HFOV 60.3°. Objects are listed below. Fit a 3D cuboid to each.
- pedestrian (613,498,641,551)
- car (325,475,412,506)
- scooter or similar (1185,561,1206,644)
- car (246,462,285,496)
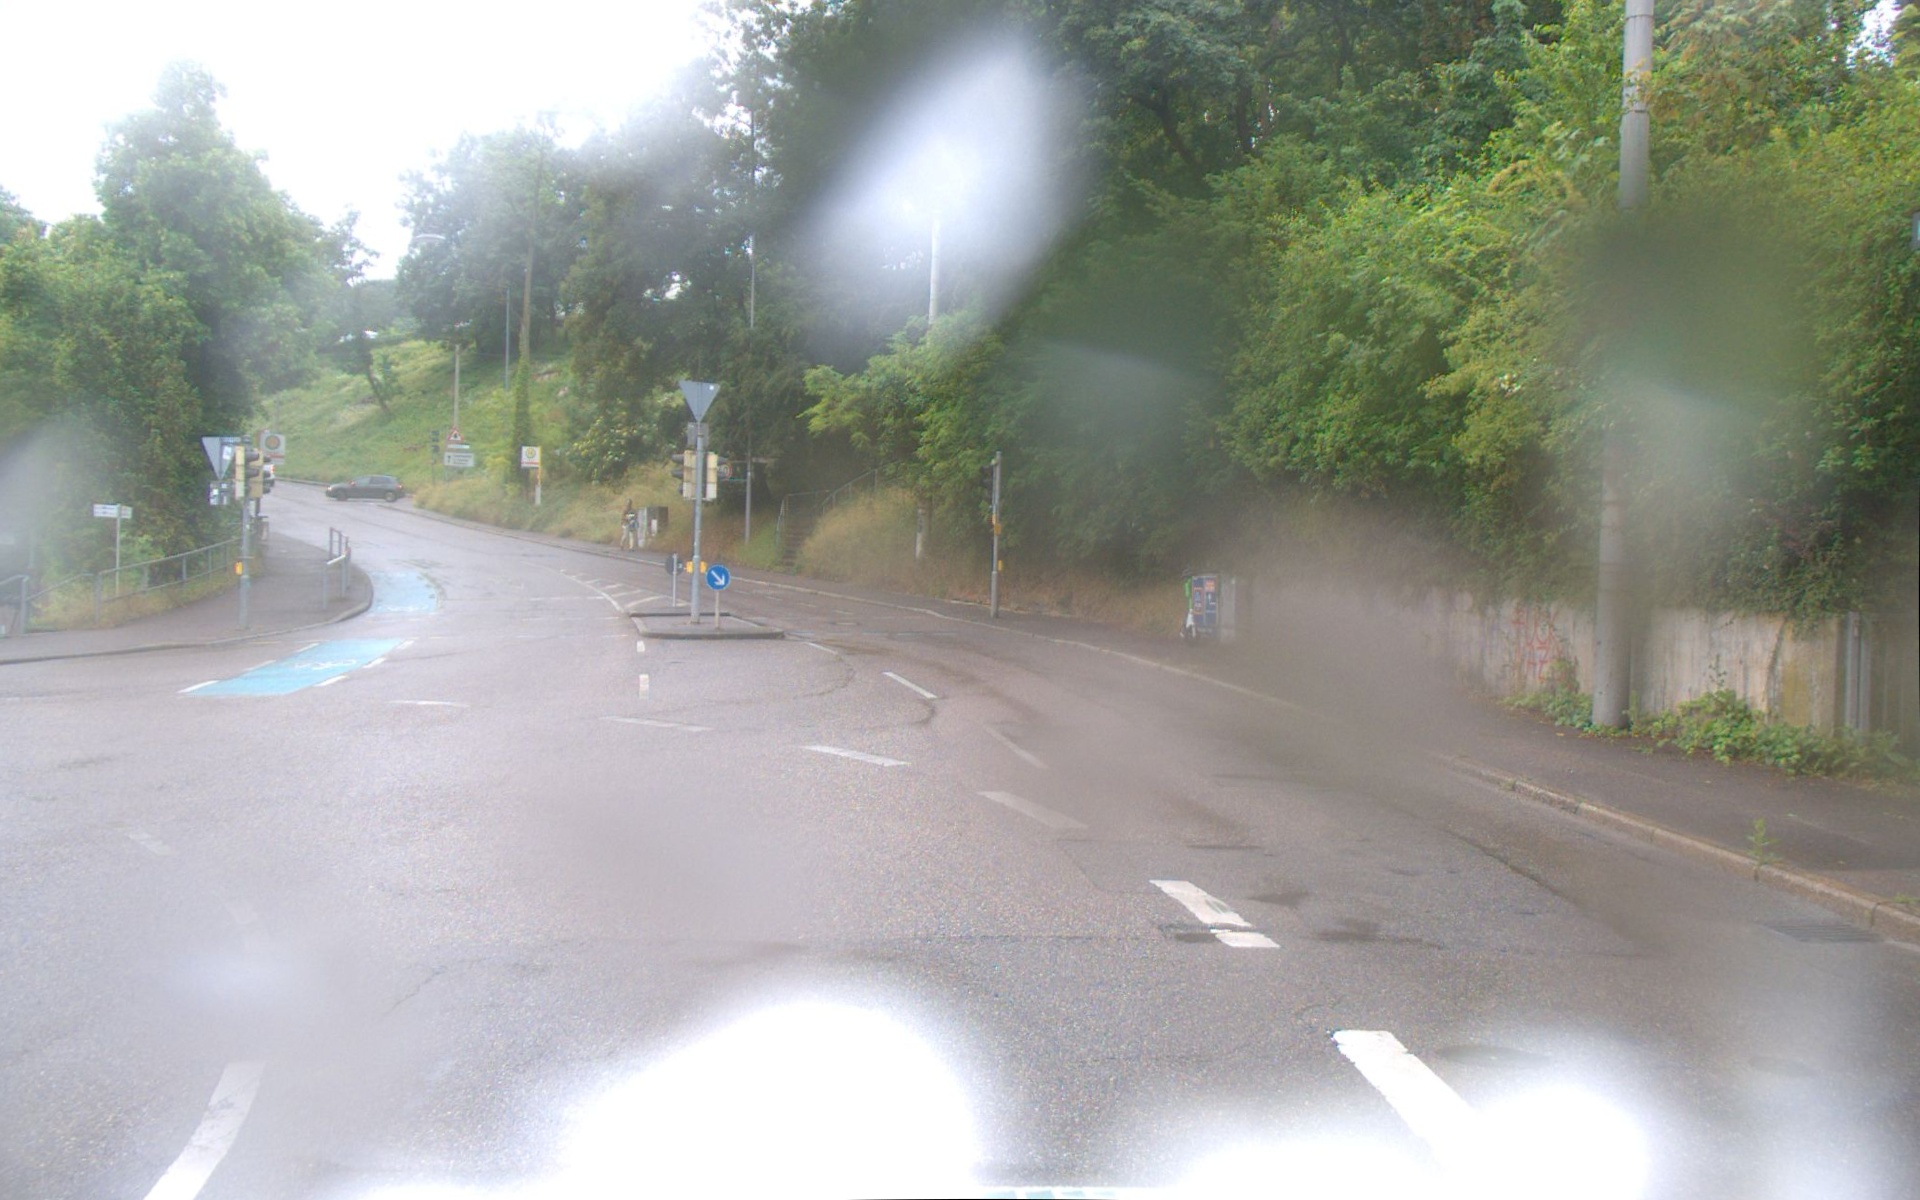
[{"bbox_3d":[-11.473,-2.591,56.997,0.867,1.767,0.861,1,-1,-18],"label":"pedestrian"},{"bbox_3d":[-33.149,-6.128,92.800,4.315,1.538,1.957,1,3,-14],"label":"car"},{"bbox_3d":[3.778,0.031,26.538,0.315,1.302,0.752,0,3,7],"label":"scooter or similar"},{"bbox_3d":[-46.537,-8.092,110.884,2.034,2.041,4.790,1,1,-18],"label":"car"}]
